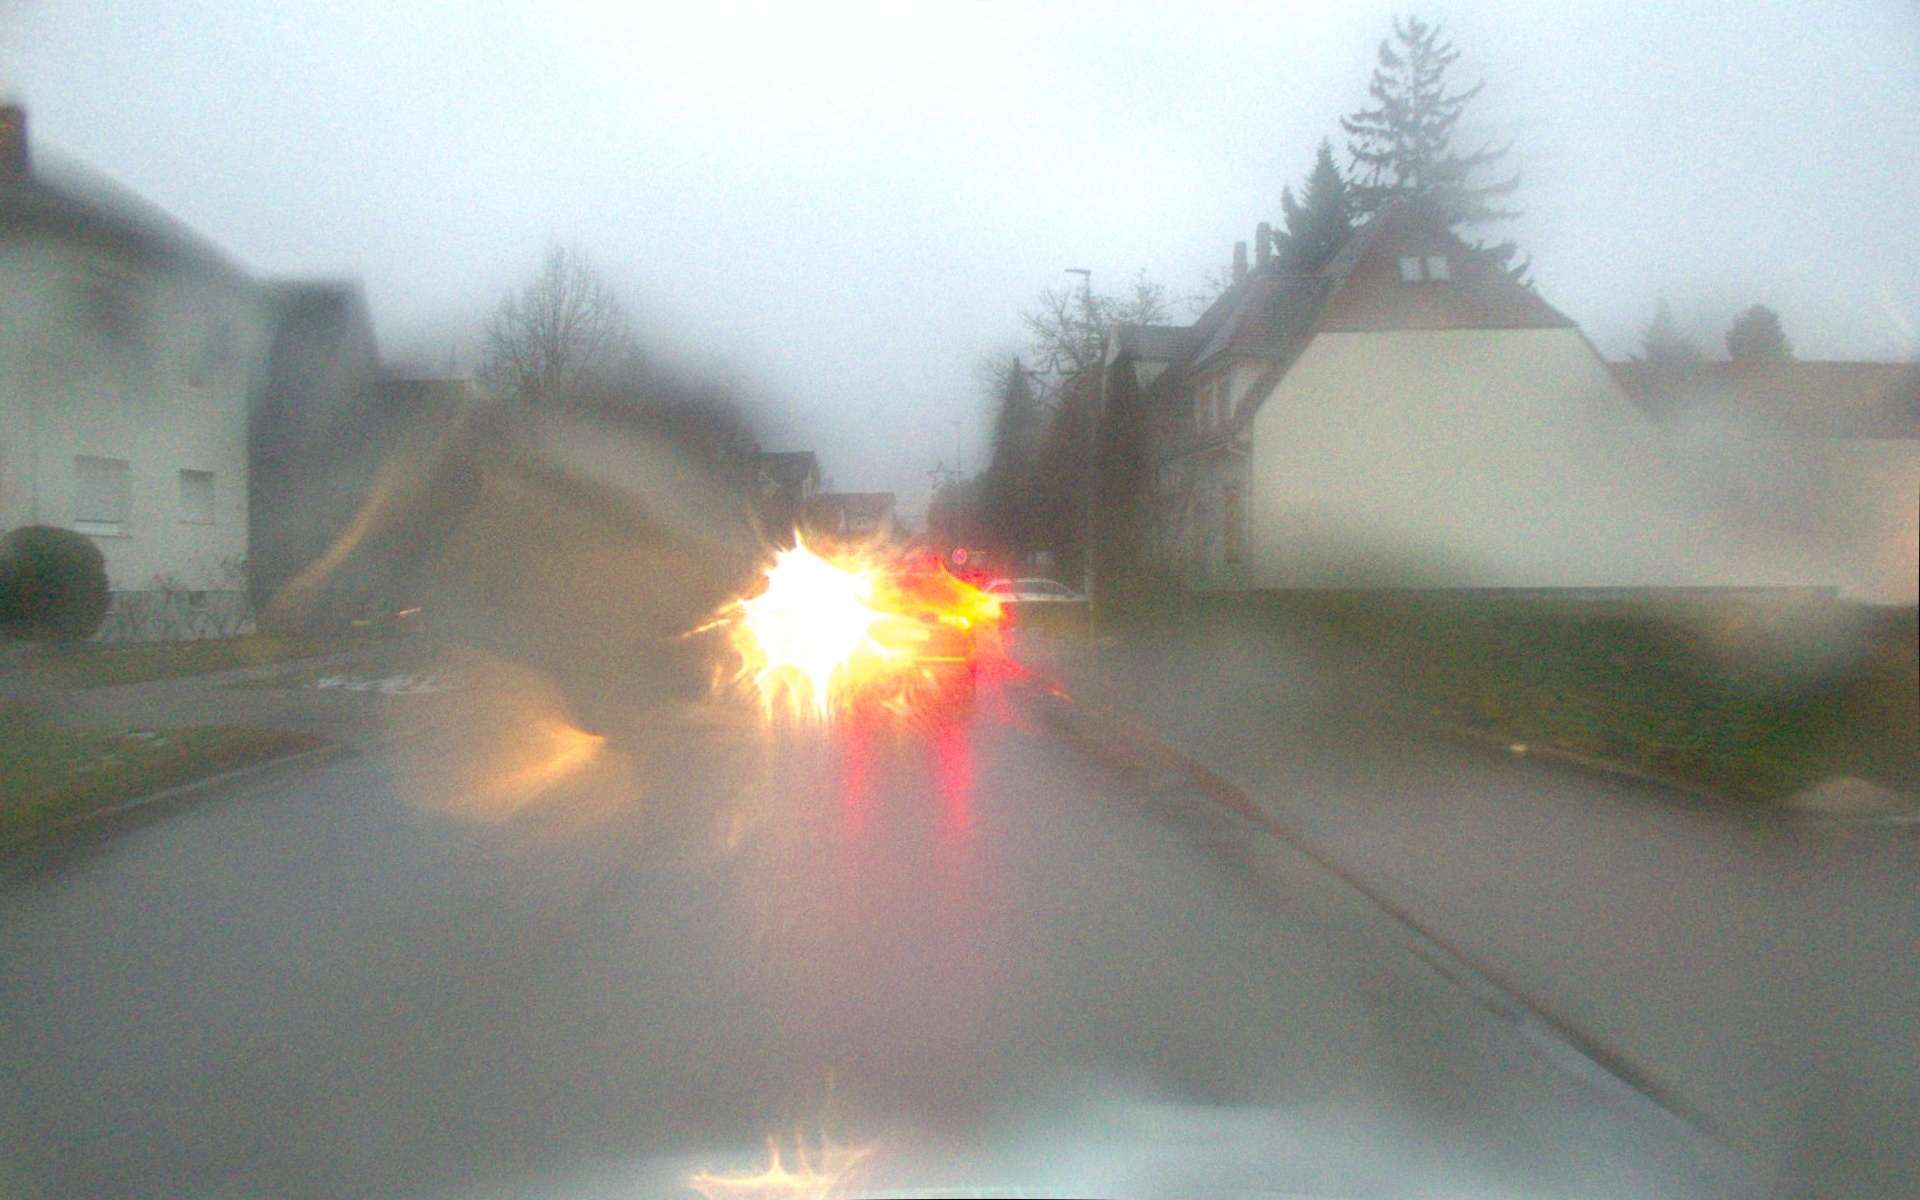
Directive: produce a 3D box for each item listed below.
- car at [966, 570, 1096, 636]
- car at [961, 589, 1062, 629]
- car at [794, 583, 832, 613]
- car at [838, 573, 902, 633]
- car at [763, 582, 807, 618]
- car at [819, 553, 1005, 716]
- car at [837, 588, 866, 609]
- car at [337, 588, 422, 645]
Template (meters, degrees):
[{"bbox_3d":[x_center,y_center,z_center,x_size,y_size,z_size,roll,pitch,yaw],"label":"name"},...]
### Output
[{"bbox_3d":[2.289,0.090,53.922,4.159,2.049,1.811,-1,0,0],"label":"car"},{"bbox_3d":[1.936,0.337,62.766,3.692,1.414,1.764,-1,0,-2],"label":"car"},{"bbox_3d":[-8.249,-0.143,93.046,1.874,1.456,4.000,0,3,-1],"label":"car"},{"bbox_3d":[-2.701,0.046,49.080,1.821,1.676,3.997,0,1,-4],"label":"car"},{"bbox_3d":[-8.225,-0.010,78.084,1.875,1.548,3.998,0,2,-3],"label":"car"},{"bbox_3d":[-0.775,0.414,22.753,2.264,1.972,5.013,-1,0,-4],"label":"car"},{"bbox_3d":[-7.229,-0.134,110.620,1.805,1.355,3.936,-1,1,-2],"label":"car"},{"bbox_3d":[-15.571,0.426,44.507,1.747,1.417,3.985,2,0,-14],"label":"car"}]
